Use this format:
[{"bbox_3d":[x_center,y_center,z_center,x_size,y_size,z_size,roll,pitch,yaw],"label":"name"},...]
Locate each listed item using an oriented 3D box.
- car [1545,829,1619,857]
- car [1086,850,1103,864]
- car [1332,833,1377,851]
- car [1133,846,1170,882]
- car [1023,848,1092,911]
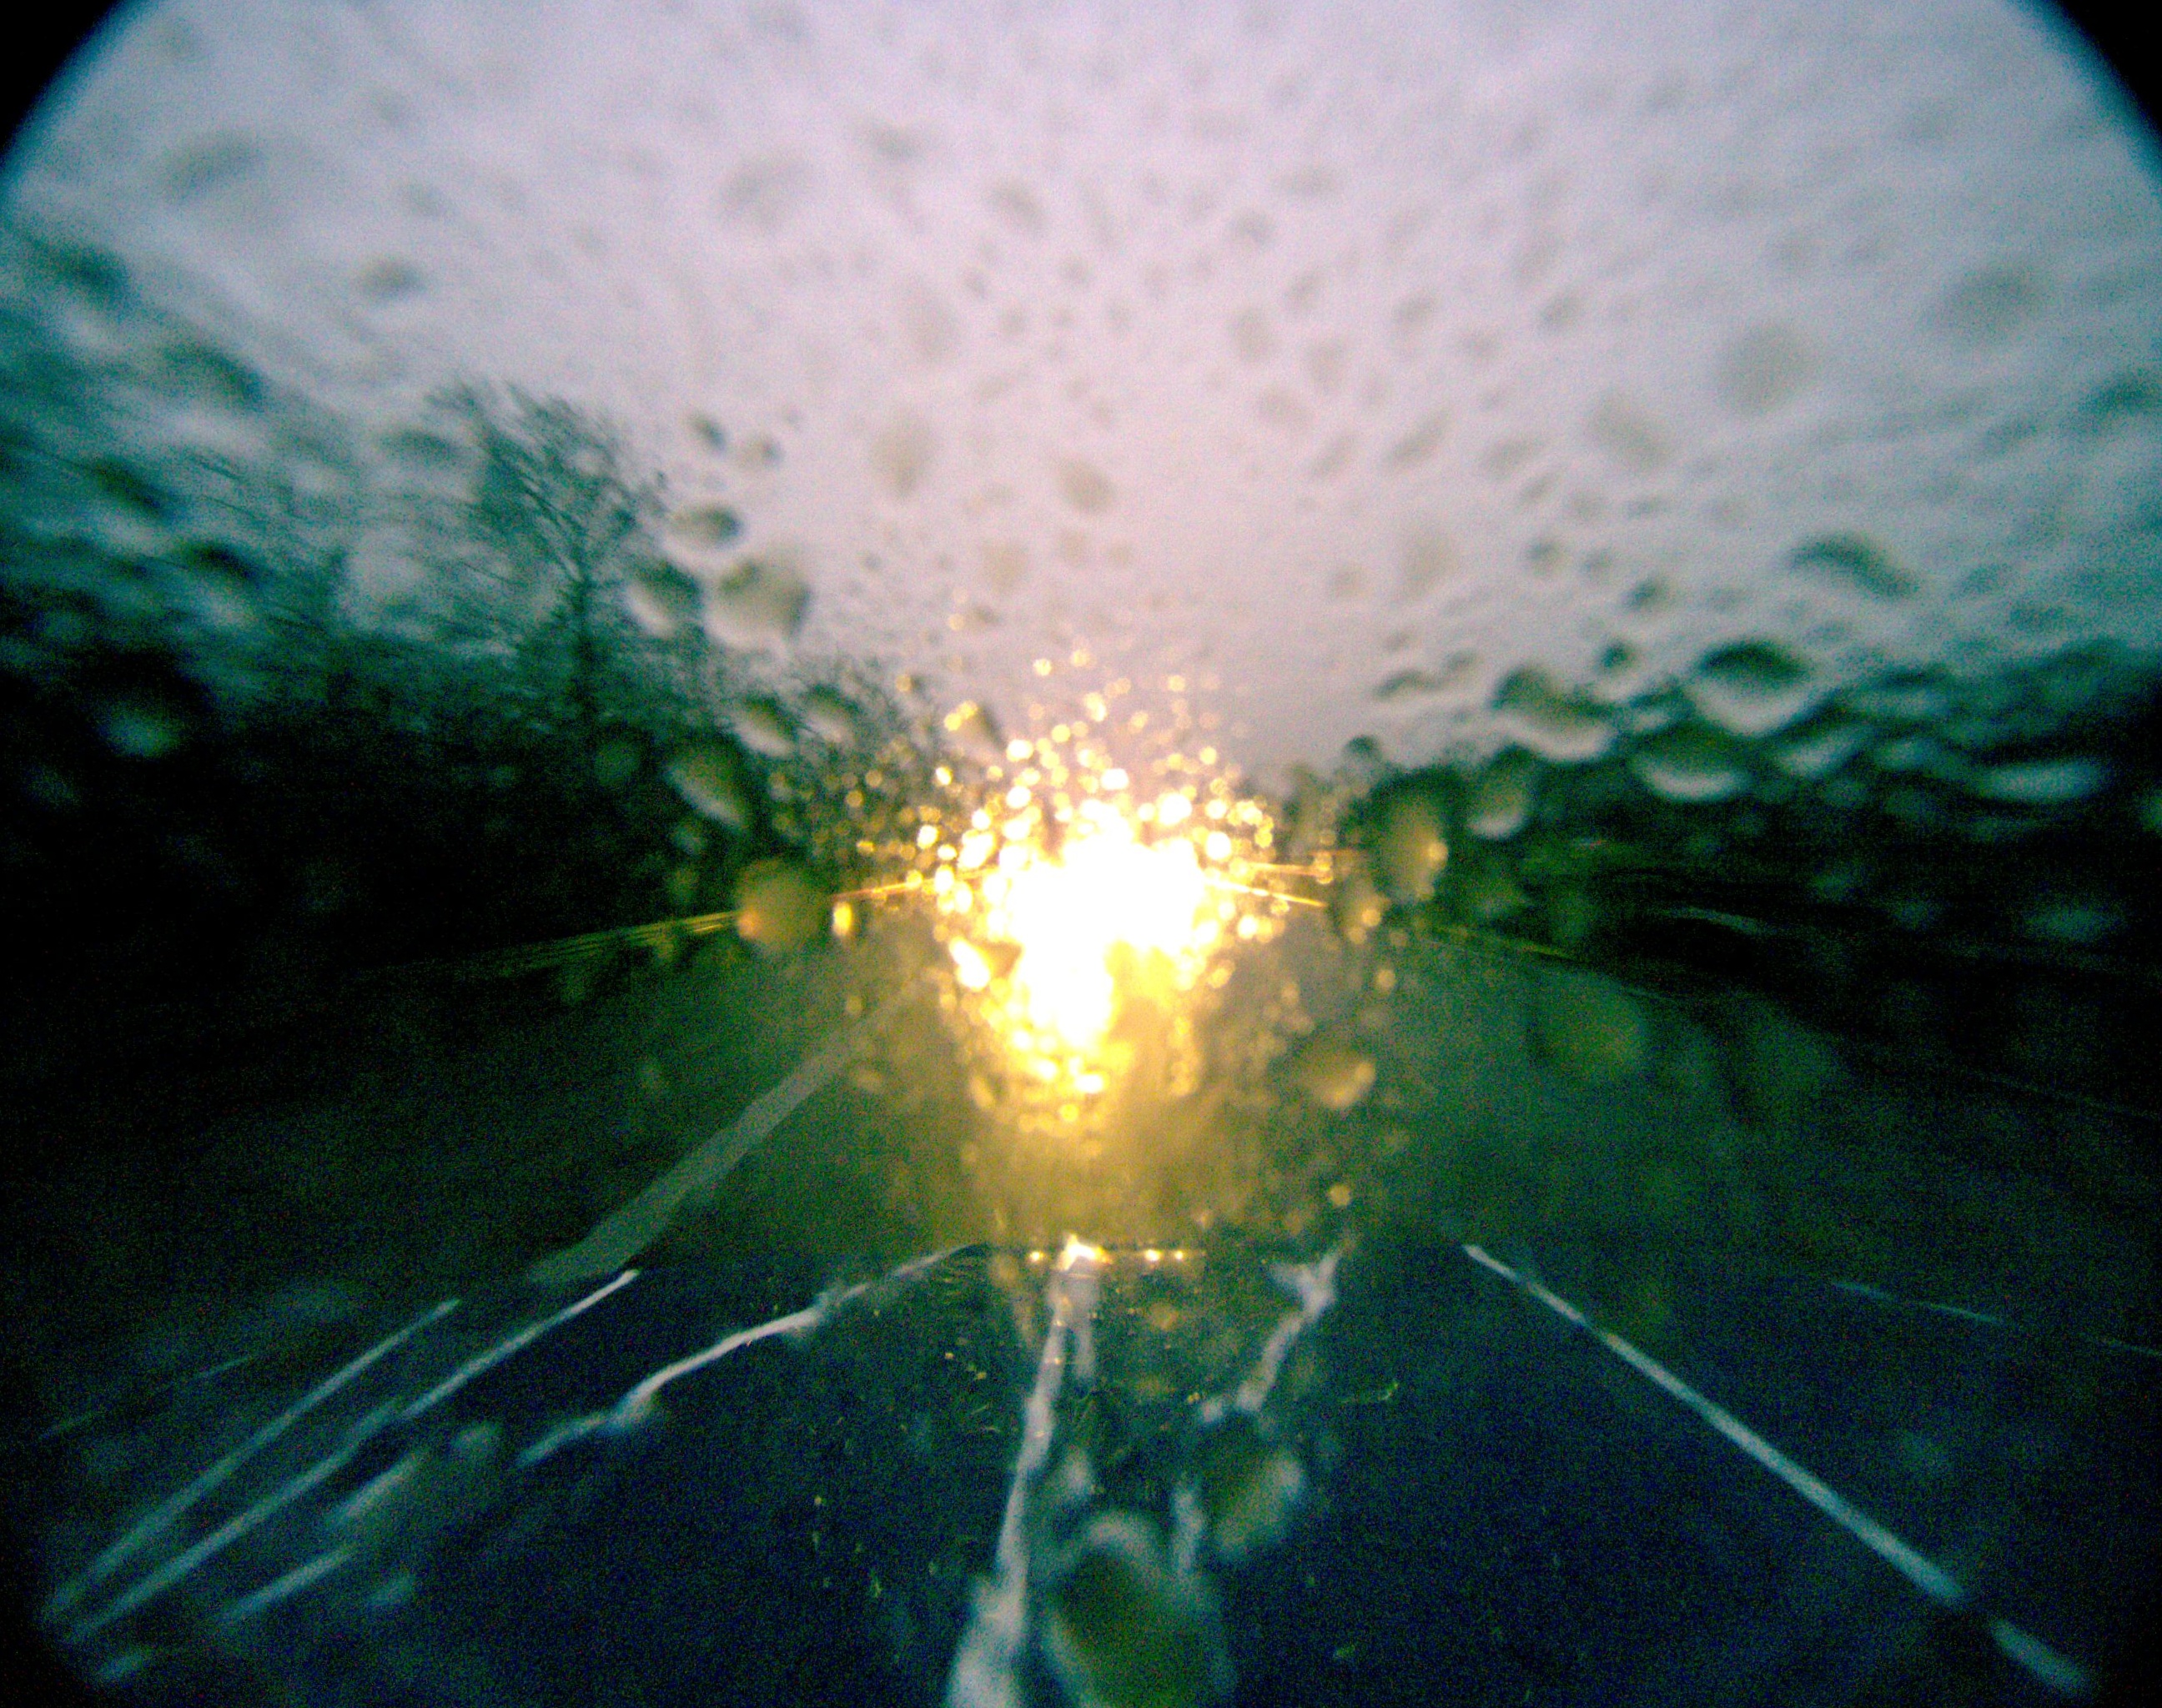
[{"bbox_3d":[37.592,-0.798,57.102,1.781,2.002,4.199,-3,1,-35],"label":"car"},{"bbox_3d":[1.605,0.335,88.901,1.741,1.441,4.000,-2,1,2],"label":"car"},{"bbox_3d":[27.933,-1.204,77.640,2.003,1.701,3.991,-2,1,-28],"label":"car"},{"bbox_3d":[4.009,0.520,43.566,1.766,1.922,4.000,-2,1,1],"label":"car"},{"bbox_3d":[-0.693,0.724,24.130,1.929,1.781,3.940,-2,1,0],"label":"car"}]
